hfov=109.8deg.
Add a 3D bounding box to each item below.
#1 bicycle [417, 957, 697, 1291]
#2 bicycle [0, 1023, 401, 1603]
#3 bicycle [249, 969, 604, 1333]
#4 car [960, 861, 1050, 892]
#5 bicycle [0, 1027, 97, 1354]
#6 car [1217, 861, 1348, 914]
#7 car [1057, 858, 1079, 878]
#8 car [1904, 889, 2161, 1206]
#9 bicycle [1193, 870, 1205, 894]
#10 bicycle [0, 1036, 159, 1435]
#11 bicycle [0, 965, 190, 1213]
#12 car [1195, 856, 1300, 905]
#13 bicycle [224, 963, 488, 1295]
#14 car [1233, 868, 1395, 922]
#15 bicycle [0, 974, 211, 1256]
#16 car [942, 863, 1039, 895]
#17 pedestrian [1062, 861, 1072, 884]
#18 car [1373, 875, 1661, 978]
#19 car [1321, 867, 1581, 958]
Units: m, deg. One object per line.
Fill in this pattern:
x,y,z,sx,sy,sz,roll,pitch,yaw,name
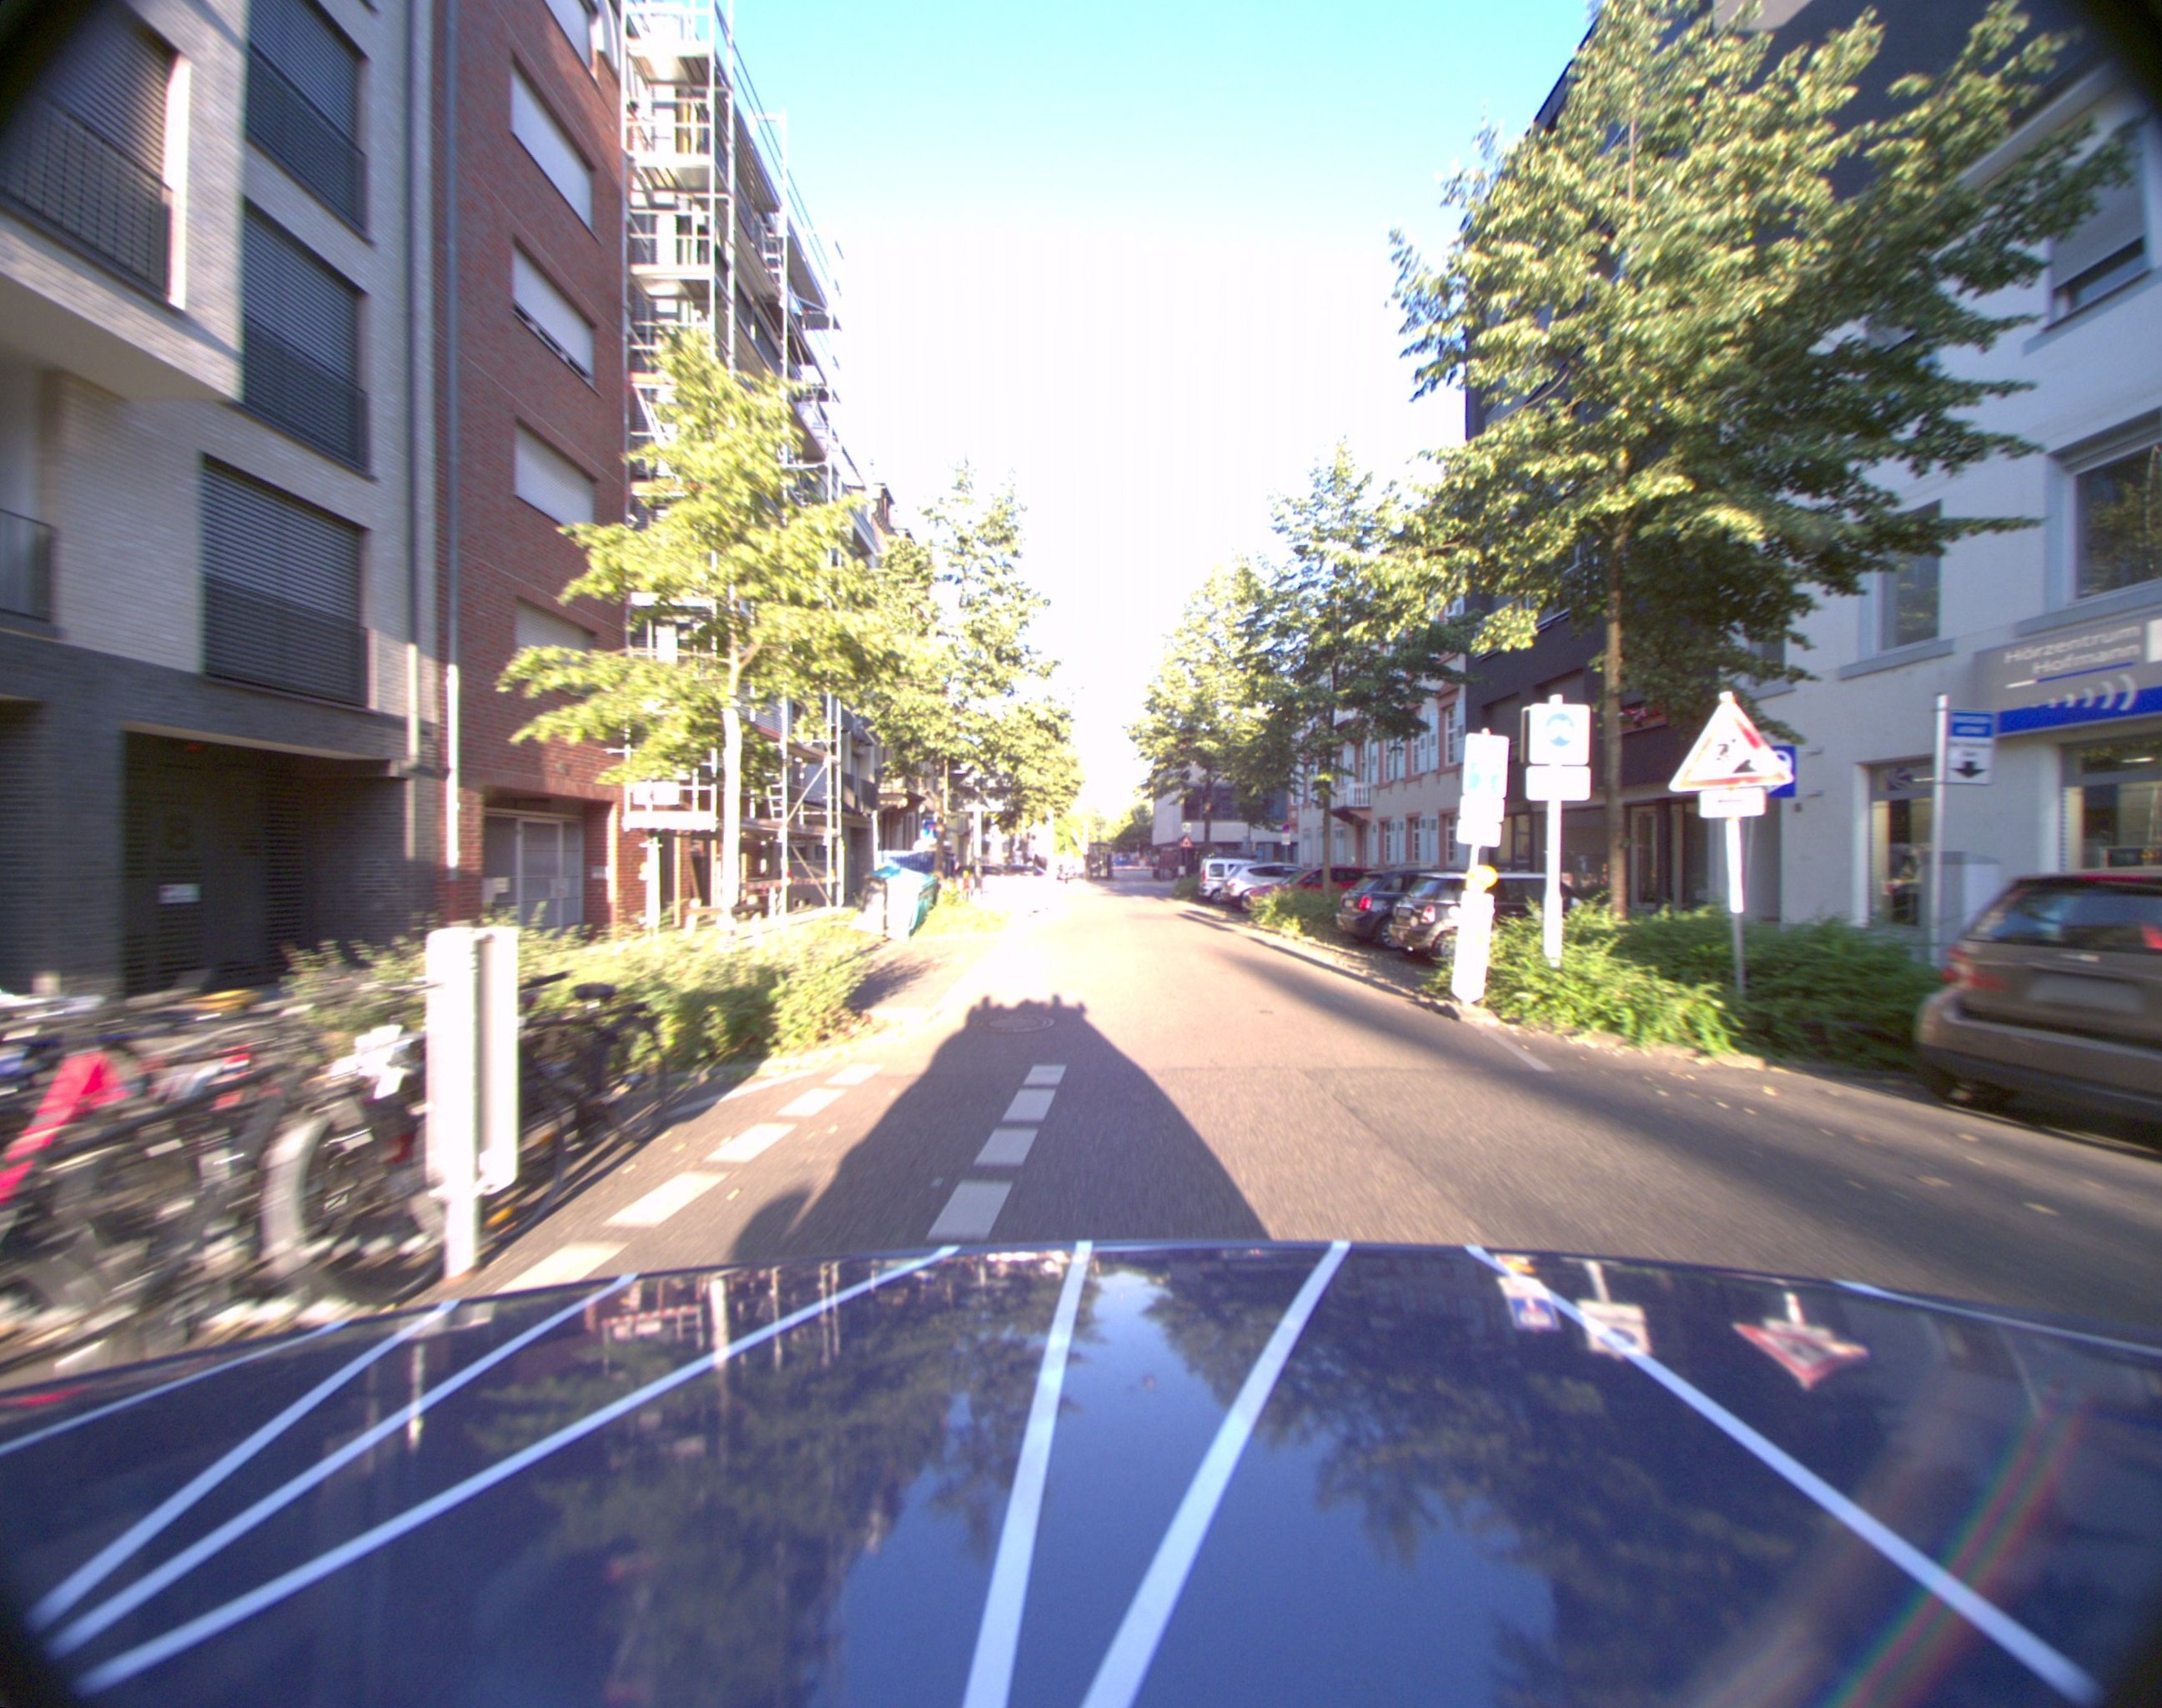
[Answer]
-2.455,1.174,3.771,0.383,1.094,1.522,0,1,-3,bicycle
-2.669,1.168,1.895,0.363,1.134,1.566,0,1,8,bicycle
-2.854,1.191,3.521,0.383,1.093,1.523,0,0,-3,bicycle
-3.972,1.184,40.333,4.538,1.502,1.911,1,-1,0,car
-4.008,1.210,2.148,0.382,1.093,1.565,0,0,2,bicycle
6.503,1.063,24.798,3.834,1.576,1.741,-1,1,3,car
-1.083,1.140,63.188,1.710,1.575,3.678,-1,1,-1,car
6.607,0.999,4.098,2.701,1.511,1.572,2,-1,-3,car
5.840,1.384,37.729,0.396,1.102,1.713,-2,0,3,bicycle
-3.516,1.192,1.906,0.371,1.101,1.525,0,0,12,bicycle
-5.480,1.209,3.775,0.383,1.093,1.523,0,0,-3,bicycle
6.480,1.019,29.823,3.819,1.839,1.700,0,0,4,car
-3.467,1.198,3.776,0.383,1.093,1.520,0,0,-21,bicycle
6.763,1.167,22.309,4.219,1.507,1.762,0,0,-3,car
-4.921,1.208,3.427,0.383,1.093,1.522,0,0,-7,bicycle
-4.454,1.207,37.775,4.537,1.470,1.868,1,0,3,car
-0.999,1.323,53.963,0.672,1.585,0.469,0,0,9,pedestrian
6.459,1.057,11.555,3.404,1.383,1.687,-1,0,3,car
6.697,1.031,14.081,3.903,1.508,1.857,-1,0,1,car
